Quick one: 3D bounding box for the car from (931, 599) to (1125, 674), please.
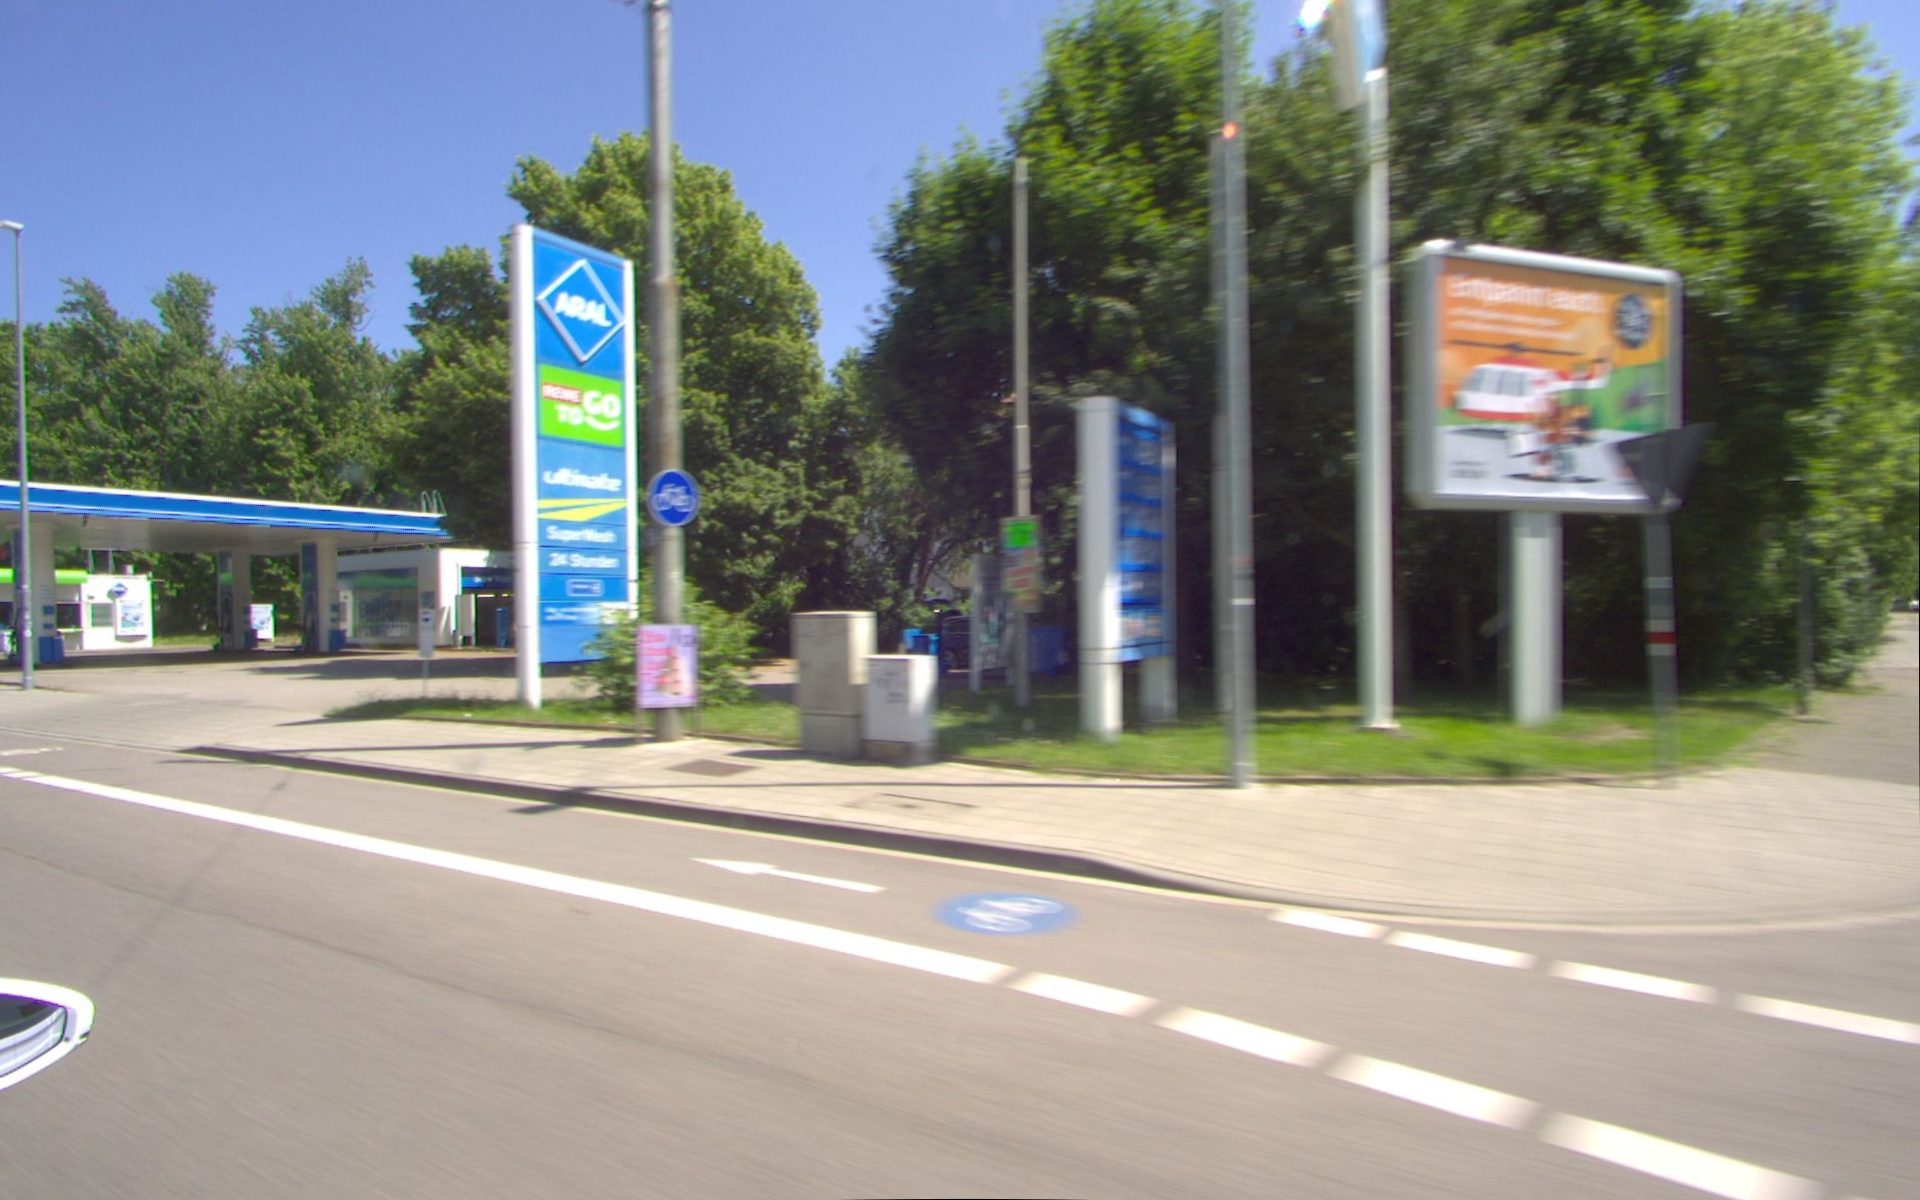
[{"bbox_3d":[1.623,0.916,24.556,4.354,1.683,1.987,-3,-2,36],"label":"car"}]

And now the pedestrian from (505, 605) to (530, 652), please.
[{"bbox_3d":[-18.408,1.176,41.658,0.825,1.914,0.623,0,1,31],"label":"pedestrian"}]
